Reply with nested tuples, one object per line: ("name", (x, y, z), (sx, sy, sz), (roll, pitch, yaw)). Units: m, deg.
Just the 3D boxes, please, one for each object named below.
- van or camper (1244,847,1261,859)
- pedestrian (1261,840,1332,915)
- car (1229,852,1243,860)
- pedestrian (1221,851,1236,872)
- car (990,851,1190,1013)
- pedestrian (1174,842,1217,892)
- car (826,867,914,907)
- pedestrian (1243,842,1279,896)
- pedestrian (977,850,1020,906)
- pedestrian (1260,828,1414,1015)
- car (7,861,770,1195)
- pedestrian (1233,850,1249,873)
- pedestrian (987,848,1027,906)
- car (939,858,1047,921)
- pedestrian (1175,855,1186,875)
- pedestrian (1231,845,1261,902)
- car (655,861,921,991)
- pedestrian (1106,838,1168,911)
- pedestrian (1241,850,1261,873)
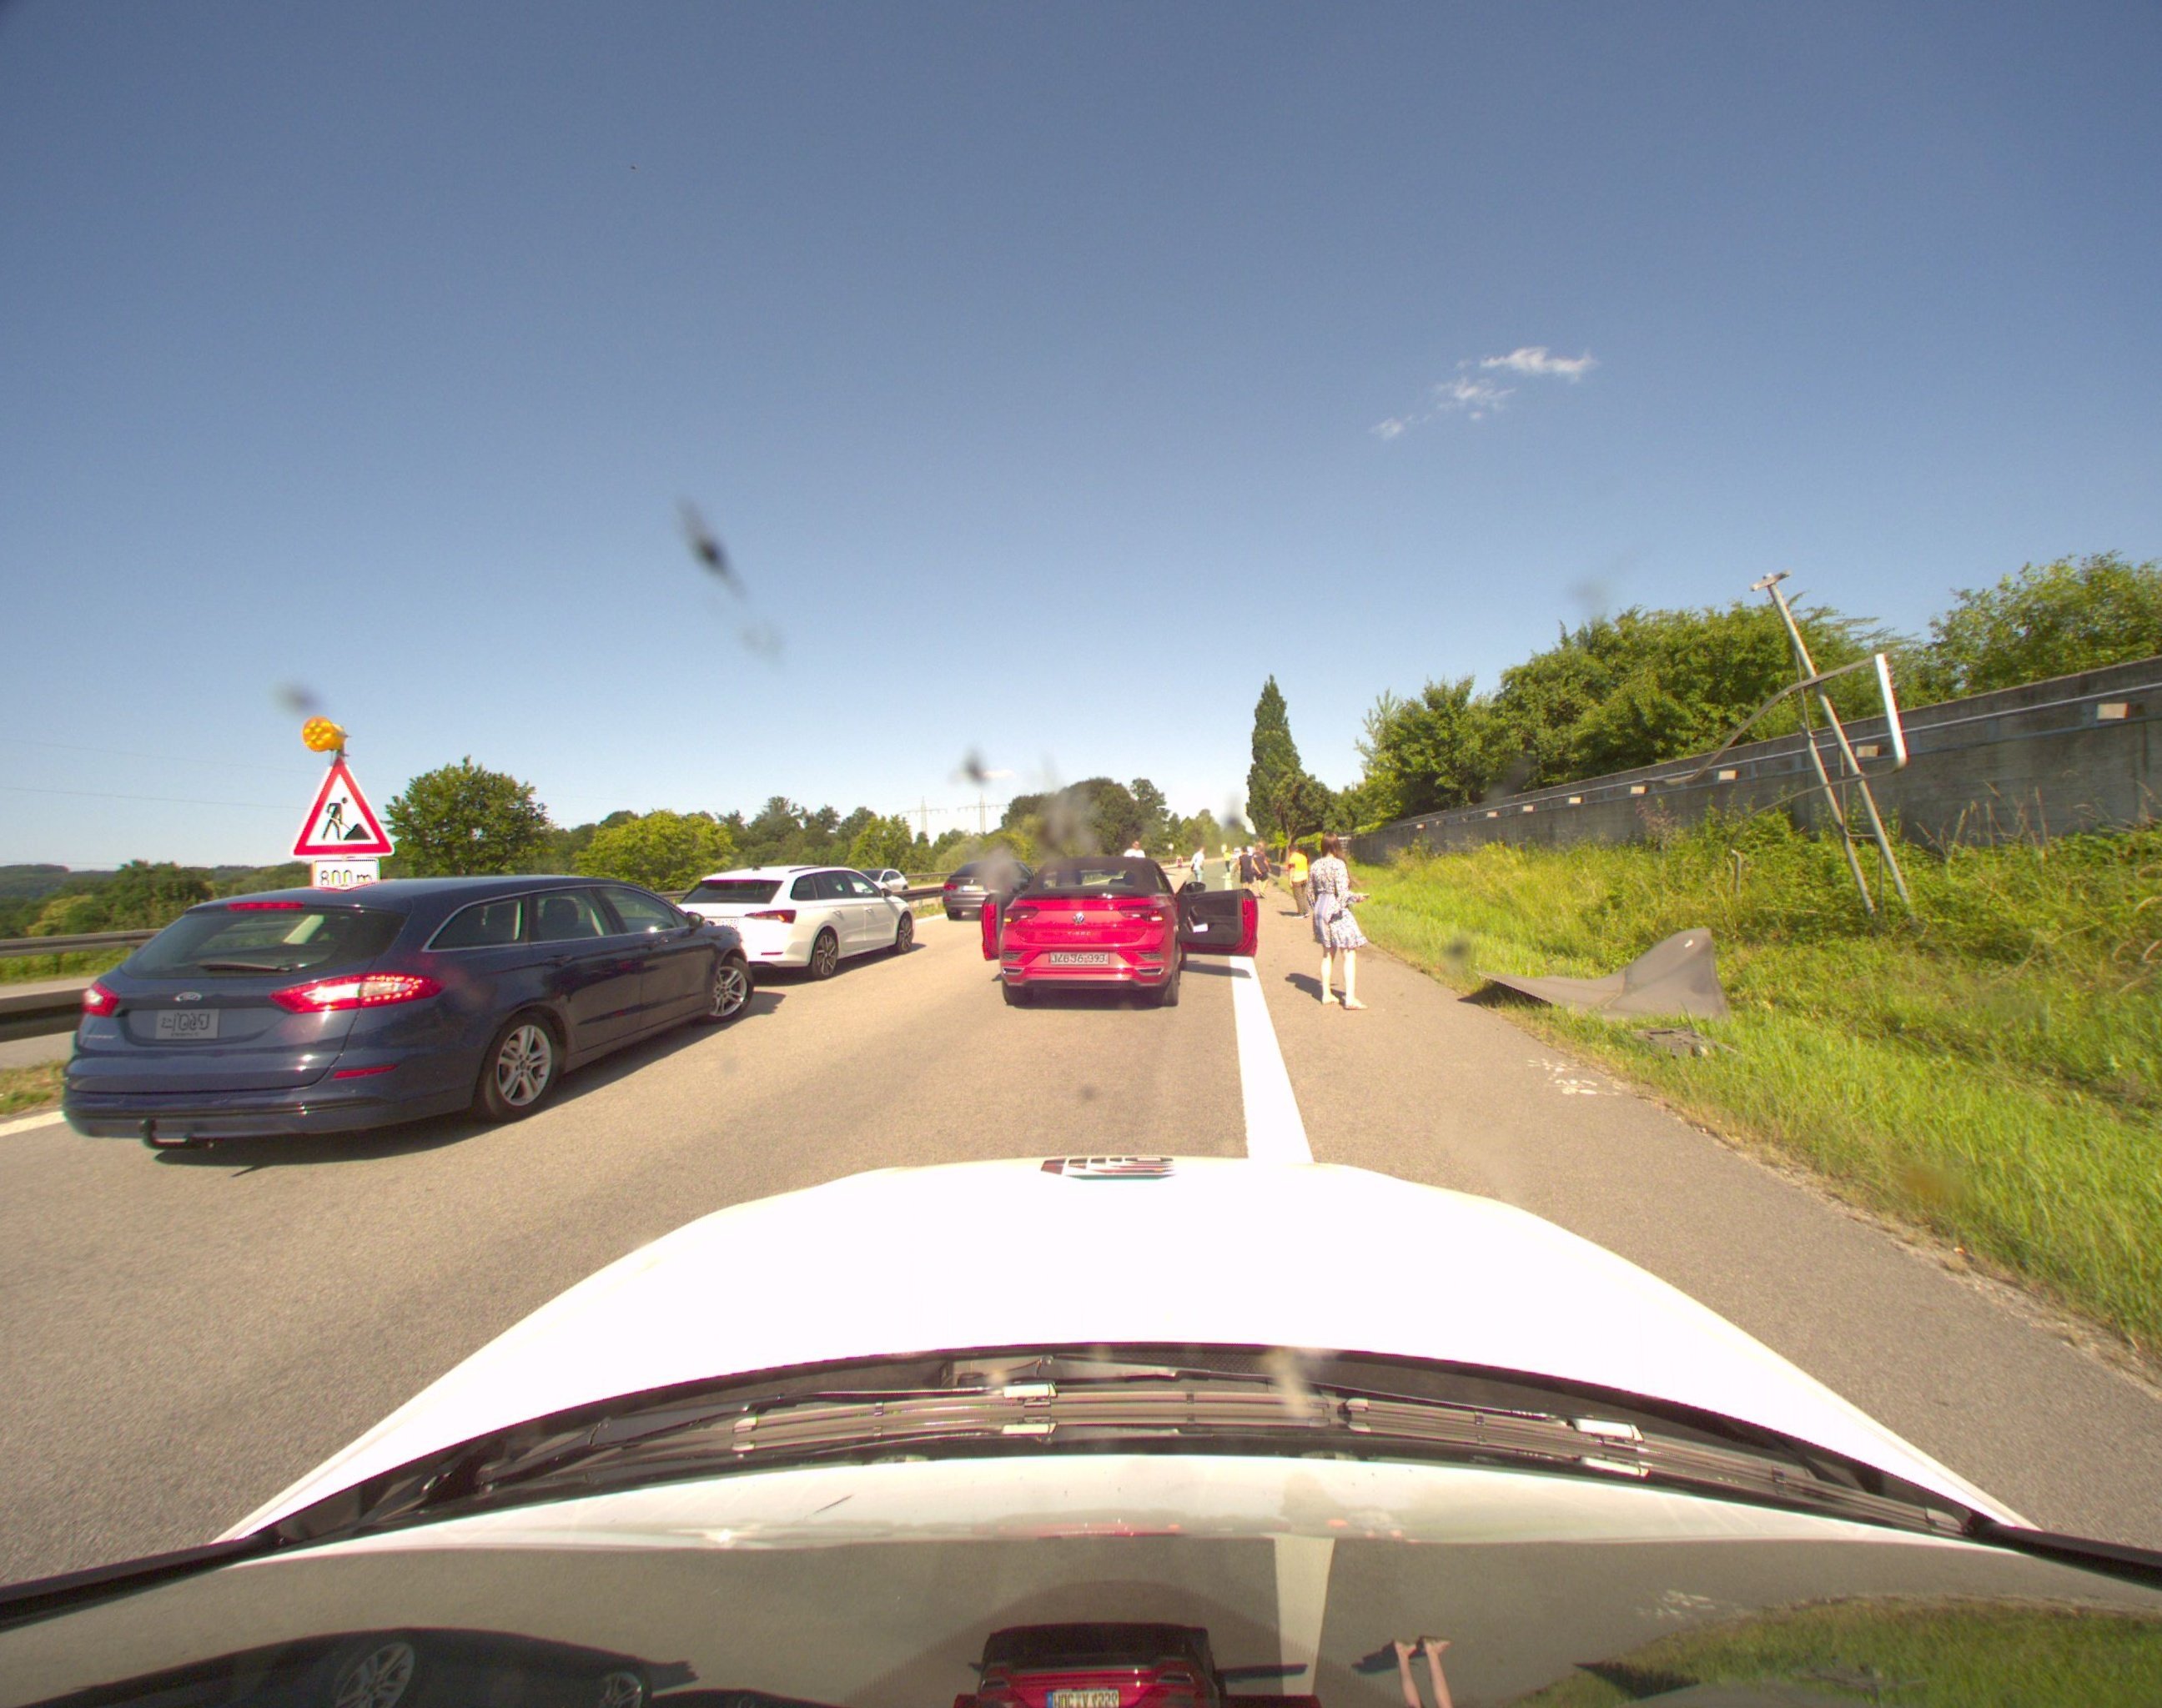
("van or camper", (33.446, -0.216, 158.645), (1.975, 2.316, 4.497), (-1, -1, 27))
("pedestrian", (5.008, 0.543, 18.975), (0.962, 1.654, 1.268), (-2, 0, -25))
("car", (31.596, 0.423, 165.883), (1.716, 1.487, 4.235), (-1, 0, 26))
("pedestrian", (11.939, 0.611, 65.933), (1.048, 1.689, 1.021), (-1, -1, 16))
("car", (0.344, 0.726, 9.706), (1.722, 1.487, 4.221), (-1, 0, 9))
("pedestrian", (4.169, 0.477, 29.772), (1.096, 1.789, 1.096), (0, -1, -35))
("car", (-8.465, 1.288, 33.086), (1.683, 1.426, 4.319), (-1, 0, 12))
("pedestrian", (5.964, 0.484, 27.011), (0.818, 1.759, 0.818), (0, -1, -39))
("pedestrian", (-2.689, 0.776, 26.614), (1.108, 1.763, 1.047), (-3, 0, 8))
("pedestrian", (2.557, 0.621, 8.171), (1.132, 1.695, 0.884), (-2, -1, -31))
("car", (-4.142, 0.842, 6.107), (1.782, 1.493, 4.493), (-2, 0, 1))
("pedestrian", (12.015, 0.533, 61.148), (1.107, 1.689, 0.976), (-1, -1, 9))
("pedestrian", (-2.519, 0.777, 27.841), (1.059, 1.883, 1.096), (-2, 0, 9))
("car", (-2.163, 0.851, 21.252), (1.684, 1.426, 4.345), (-1, 0, 9))
("pedestrian", (8.390, 0.910, 68.870), (0.786, 1.689, 0.795), (-1, -1, 14))
("pedestrian", (5.094, 0.591, 25.173), (0.889, 1.725, 0.756), (-1, -1, 10))
("car", (-3.844, 0.864, 11.576), (1.684, 1.441, 4.221), (-1, 0, 9))
("pedestrian", (1.538, 0.563, 22.495), (1.114, 1.912, 1.243), (-2, -1, -35))
("pedestrian", (12.643, 0.524, 60.589), (1.011, 1.689, 0.992), (0, -1, -22))
